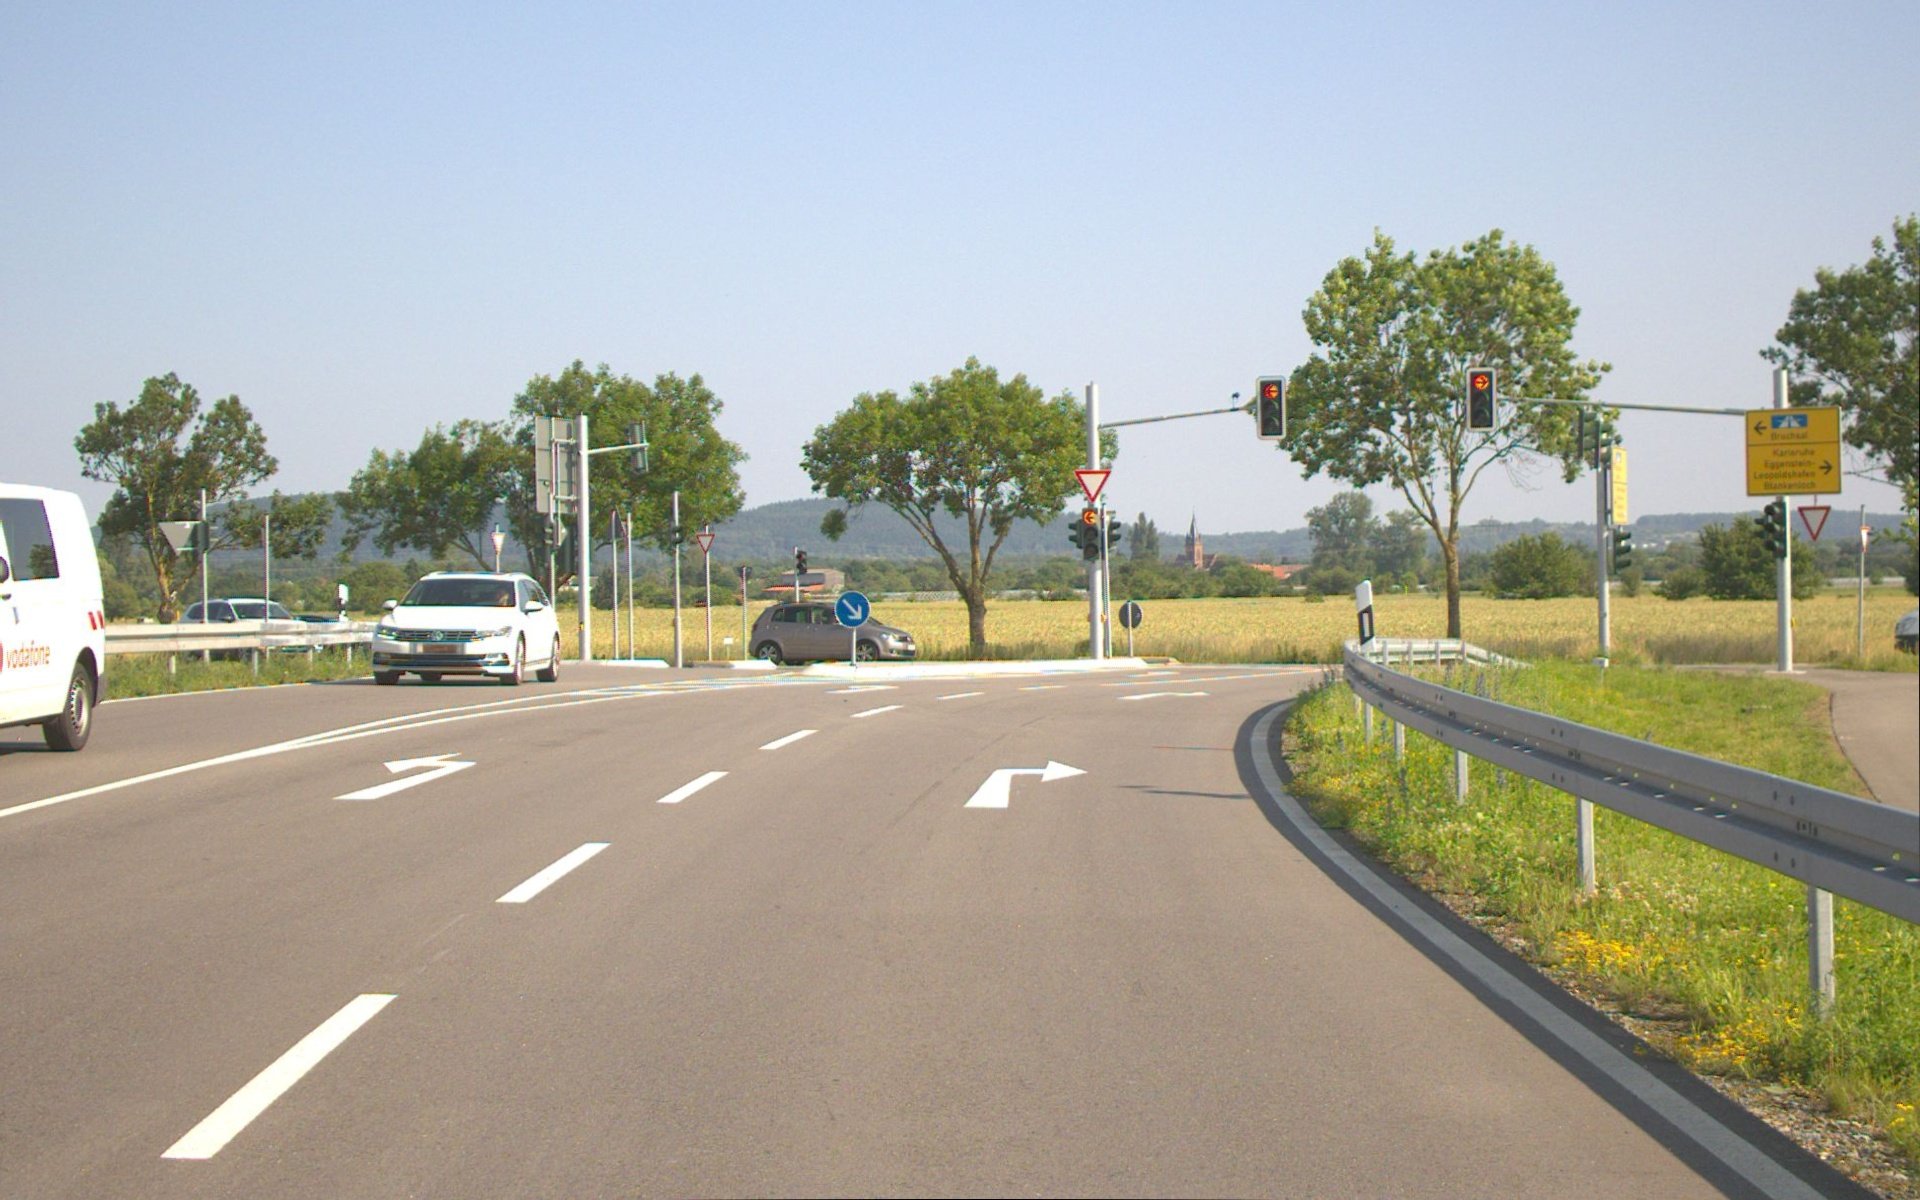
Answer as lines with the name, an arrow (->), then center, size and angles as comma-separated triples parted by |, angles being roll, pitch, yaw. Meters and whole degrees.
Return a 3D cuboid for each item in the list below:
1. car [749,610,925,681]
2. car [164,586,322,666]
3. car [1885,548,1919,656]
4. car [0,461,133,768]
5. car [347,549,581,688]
car -> -3.018, 1.115, 84.545 | 3.958, 1.662, 1.762 | 1, -1, 15
car -> -16.919, 0.640, 80.977 | 1.692, 1.668, 4.861 | 3, -4, -37
car -> 24.503, 0.104, 79.438 | 5.962, 2.484, 1.998 | 1, -1, 16
car -> -7.441, 0.061, 23.709 | 2.115, 2.006, 5.154 | 1, 3, 1
car -> -6.364, 0.187, 44.697 | 2.115, 1.488, 5.153 | 1, 3, 2
